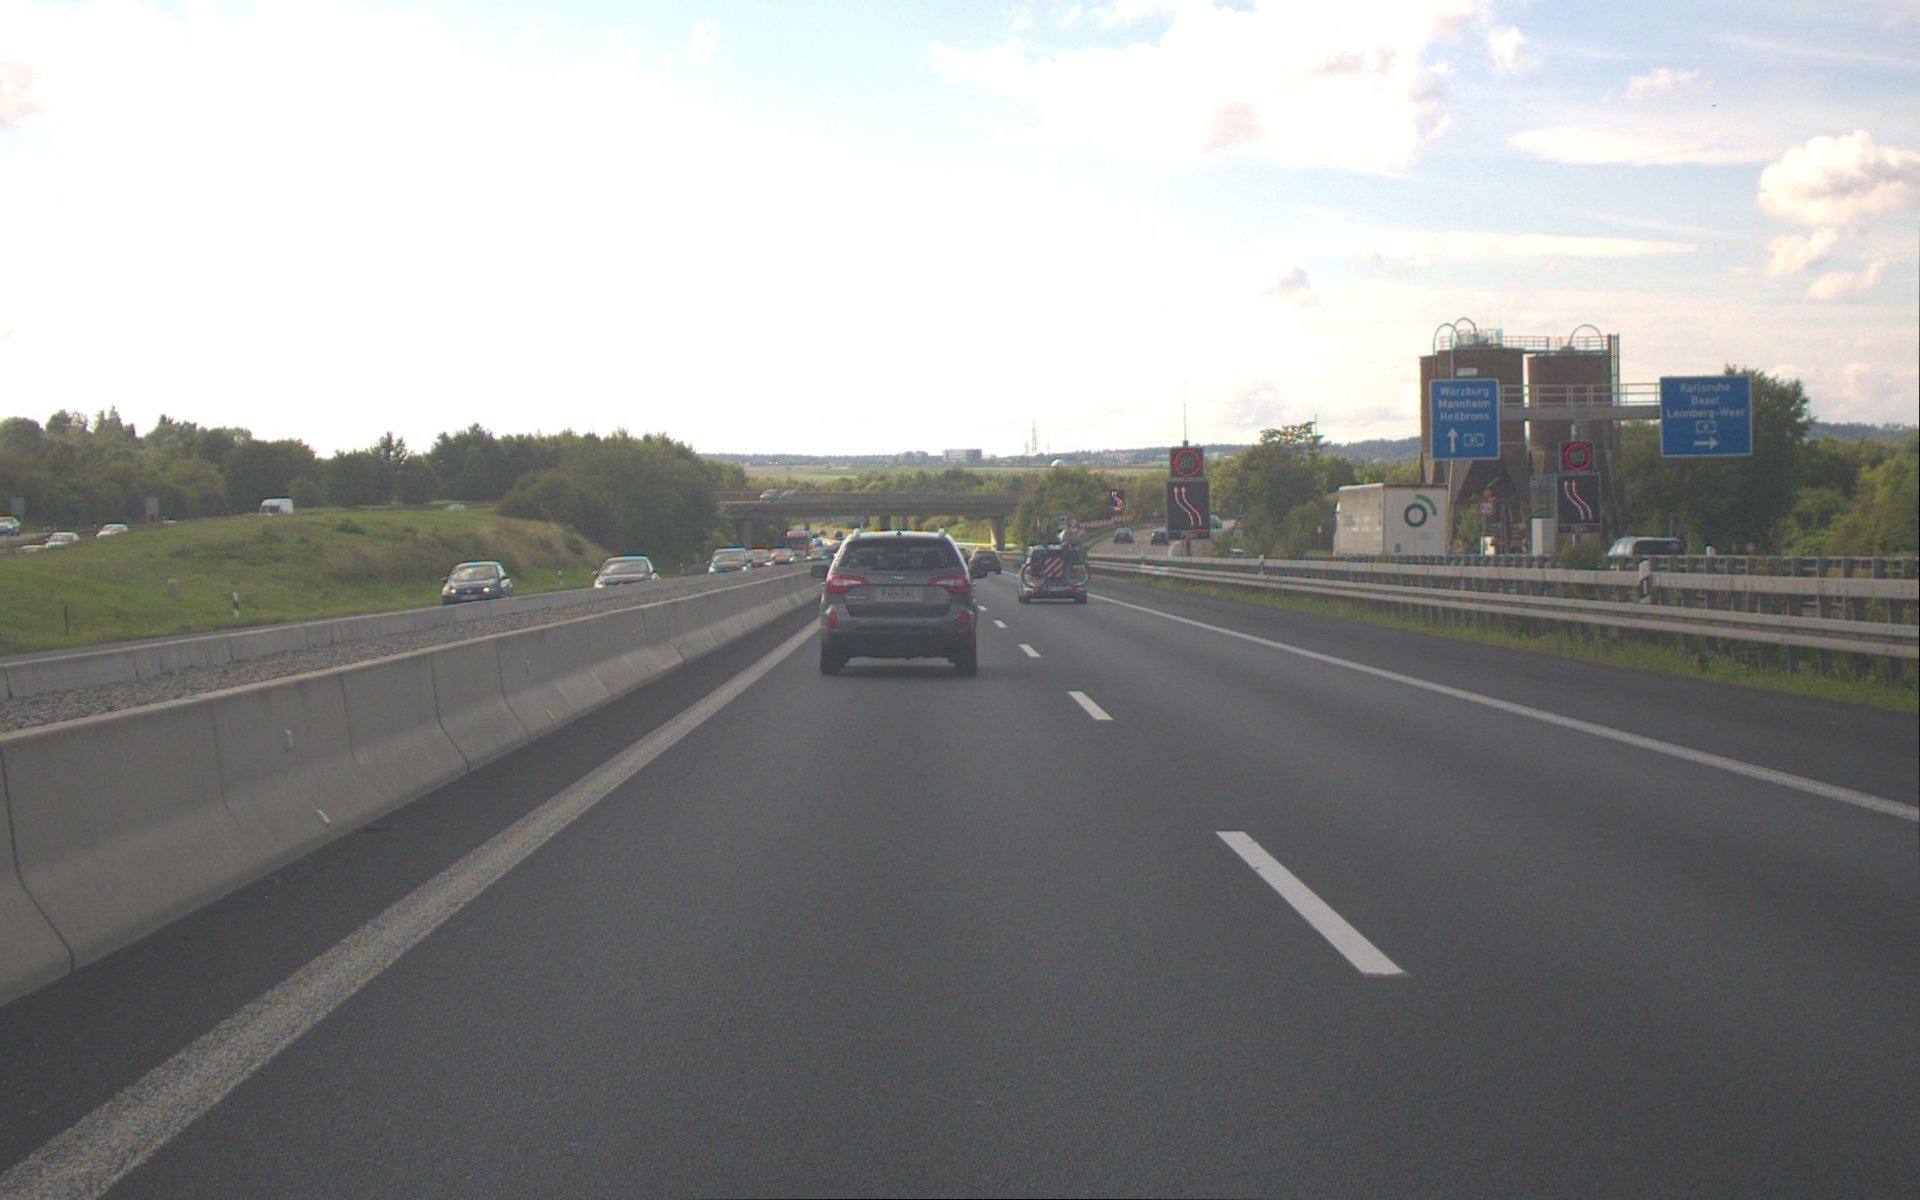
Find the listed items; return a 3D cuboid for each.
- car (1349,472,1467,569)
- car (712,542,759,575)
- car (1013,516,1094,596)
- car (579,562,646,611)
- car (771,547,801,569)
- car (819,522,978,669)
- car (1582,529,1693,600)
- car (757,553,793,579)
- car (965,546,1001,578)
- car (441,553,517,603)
[{"bbox_3d":[17.934,-3.177,138.198,3.576,3.664,7.549,-2,1,0],"label":"car"},{"bbox_3d":[-10.007,-1.848,153.647,1.787,1.393,4.725,-2,1,-1],"label":"car"},{"bbox_3d":[2.517,-1.199,93.501,1.993,2.073,4.000,-2,1,0],"label":"car"},{"bbox_3d":[-10.474,-0.420,103.787,1.641,1.393,3.742,-2,1,-1],"label":"car"},{"bbox_3d":[-11.583,-2.800,228.903,1.787,1.393,4.623,-2,1,-1],"label":"car"},{"bbox_3d":[-0.698,-0.078,41.380,1.750,1.624,3.609,-2,1,1],"label":"car"},{"bbox_3d":[17.522,-0.928,89.052,1.993,1.711,4.000,-2,1,0],"label":"car"},{"bbox_3d":[-10.165,-1.879,189.140,1.787,1.393,4.800,-2,1,-1],"label":"car"},{"bbox_3d":[1.339,-2.244,200.308,1.975,1.773,4.120,-2,1,-1],"label":"car"},{"bbox_3d":[-14.423,-0.680,103.241,1.727,1.393,4.158,-2,1,-1],"label":"car"}]
